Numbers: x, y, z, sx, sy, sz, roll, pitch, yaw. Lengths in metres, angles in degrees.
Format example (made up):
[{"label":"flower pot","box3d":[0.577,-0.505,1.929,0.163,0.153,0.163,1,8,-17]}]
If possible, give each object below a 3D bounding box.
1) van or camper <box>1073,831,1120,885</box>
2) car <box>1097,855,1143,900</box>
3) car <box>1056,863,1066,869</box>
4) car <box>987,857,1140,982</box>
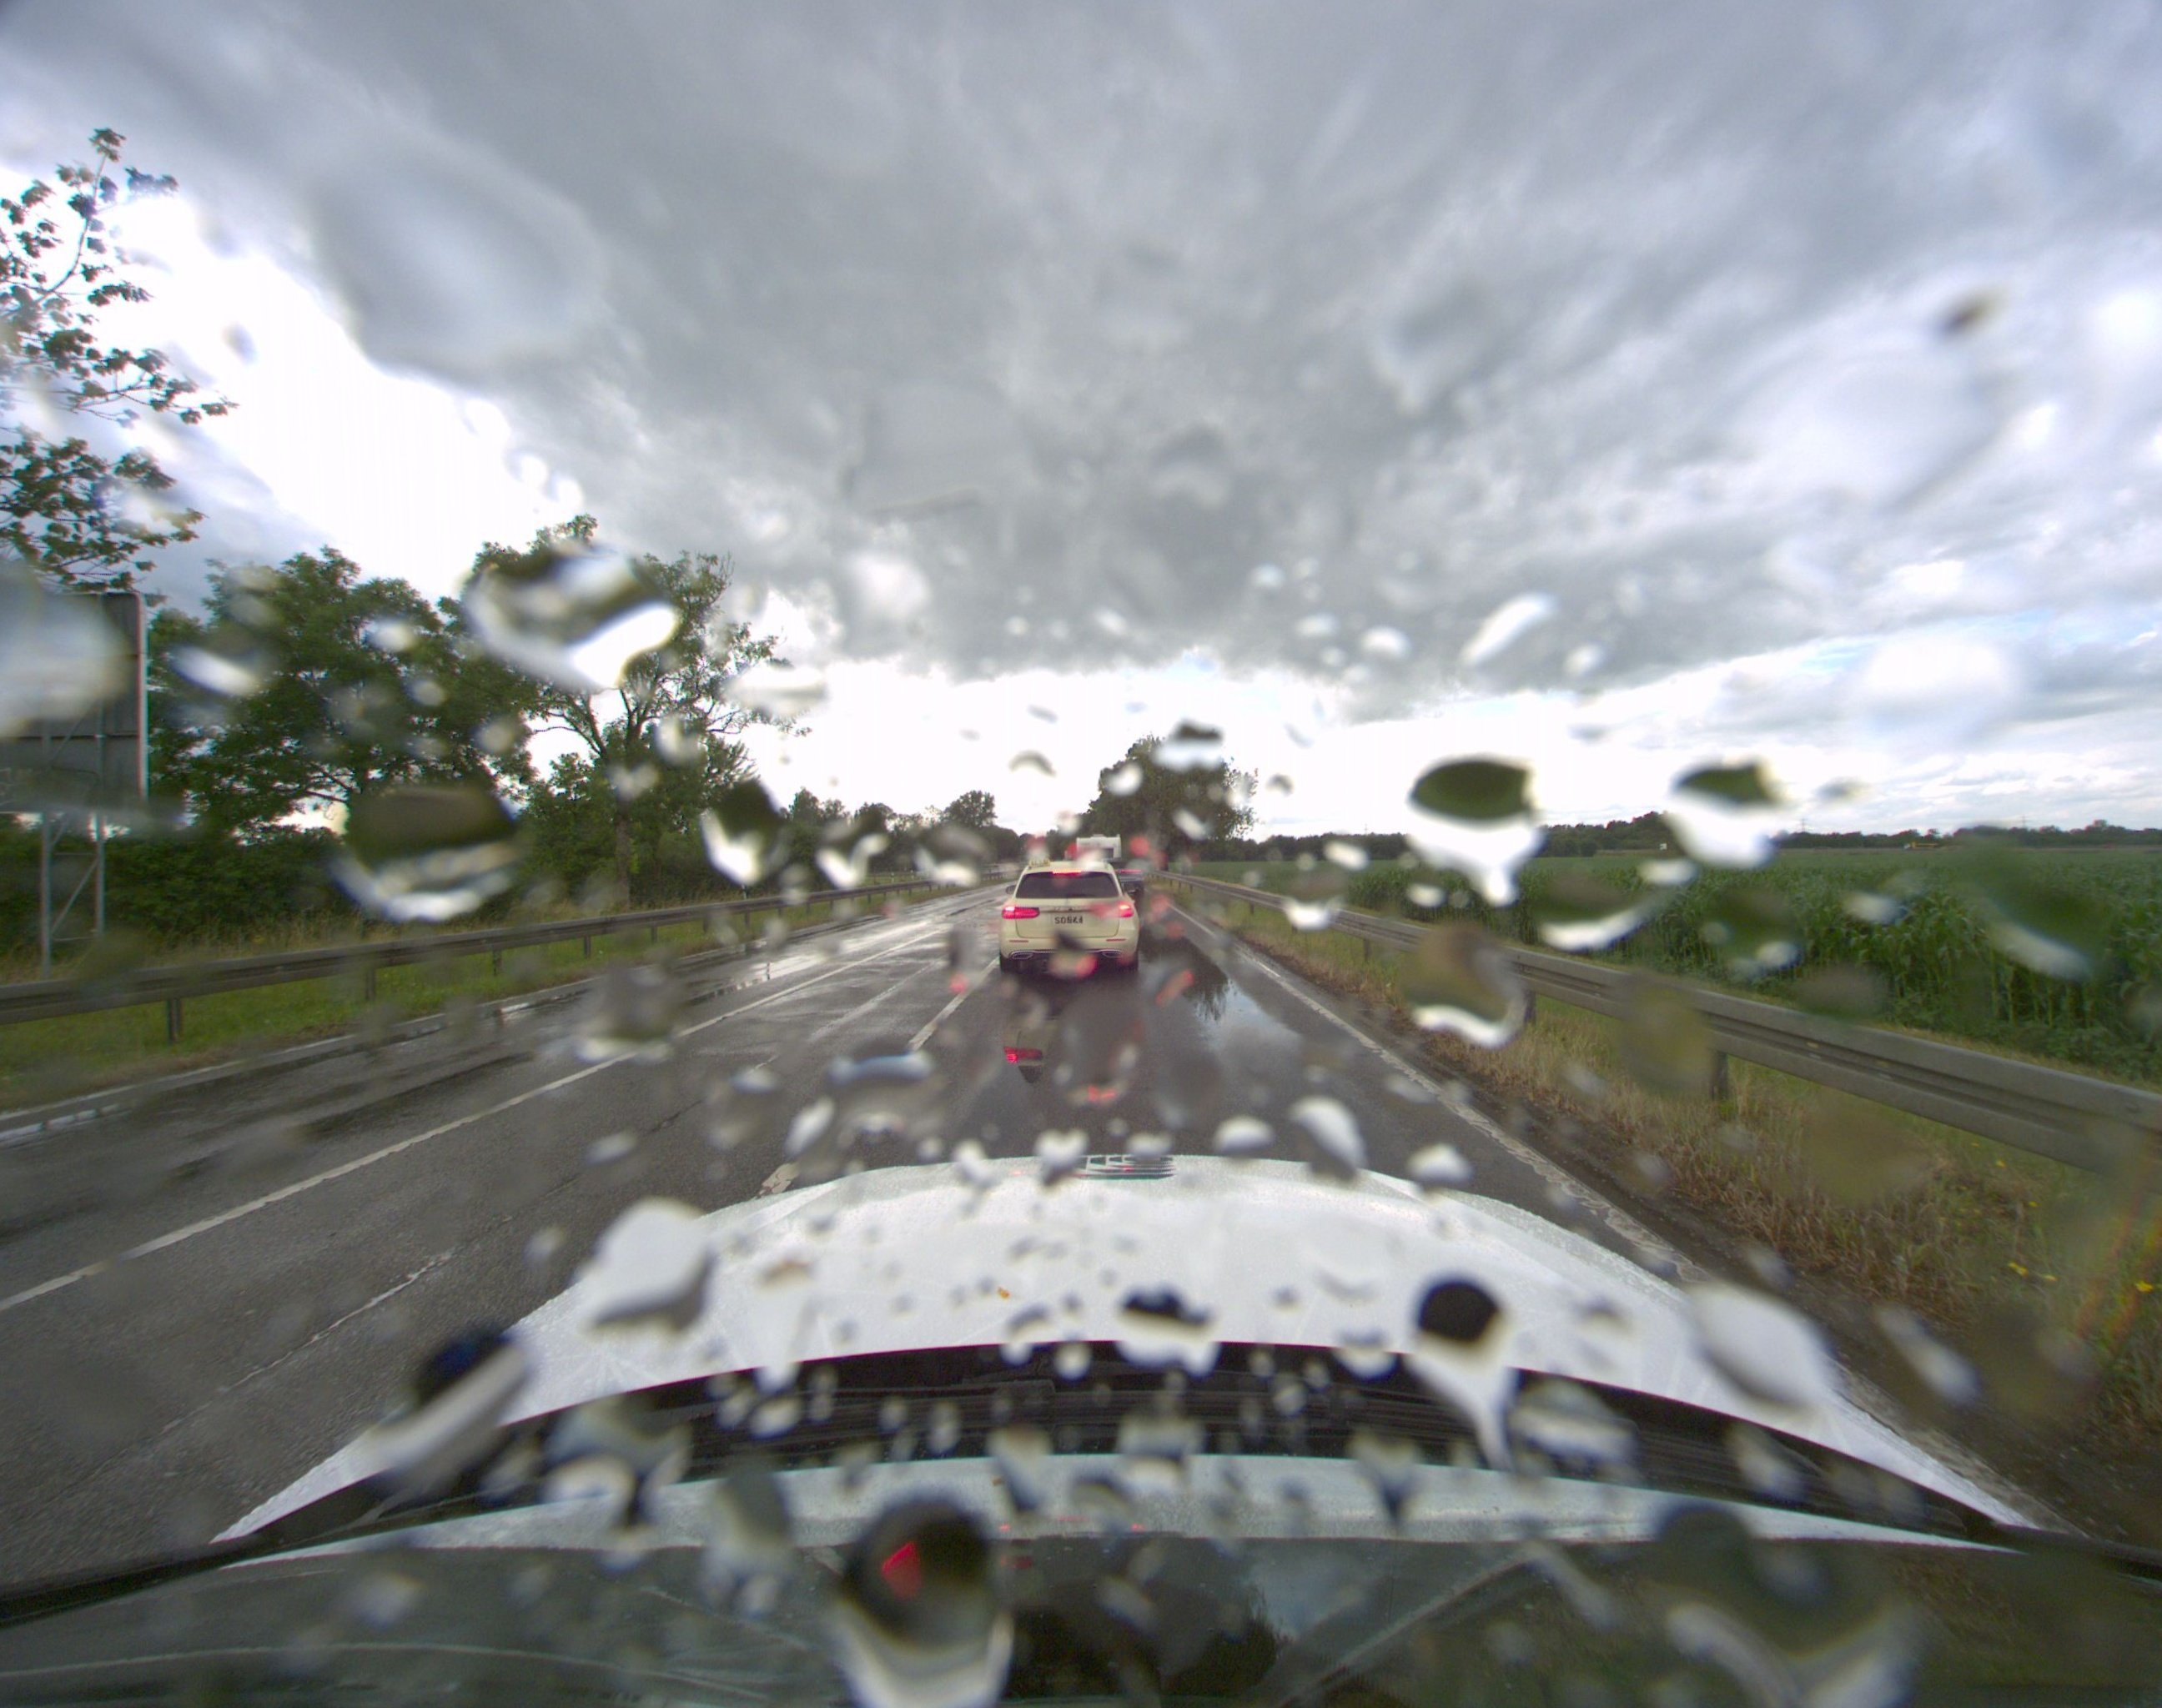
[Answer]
[{"label":"van or camper","box3d":[0.914,0.204,44.158,2.341,2.680,5.771,-1,0,2]},{"label":"car","box3d":[1.448,0.830,30.696,1.621,1.529,3.934,-1,0,2]},{"label":"car","box3d":[-3.927,2.439,164.190,1.752,1.269,4.002,-1,0,2]},{"label":"car","box3d":[-0.099,0.792,11.808,1.817,1.485,4.148,-1,0,3]}]
